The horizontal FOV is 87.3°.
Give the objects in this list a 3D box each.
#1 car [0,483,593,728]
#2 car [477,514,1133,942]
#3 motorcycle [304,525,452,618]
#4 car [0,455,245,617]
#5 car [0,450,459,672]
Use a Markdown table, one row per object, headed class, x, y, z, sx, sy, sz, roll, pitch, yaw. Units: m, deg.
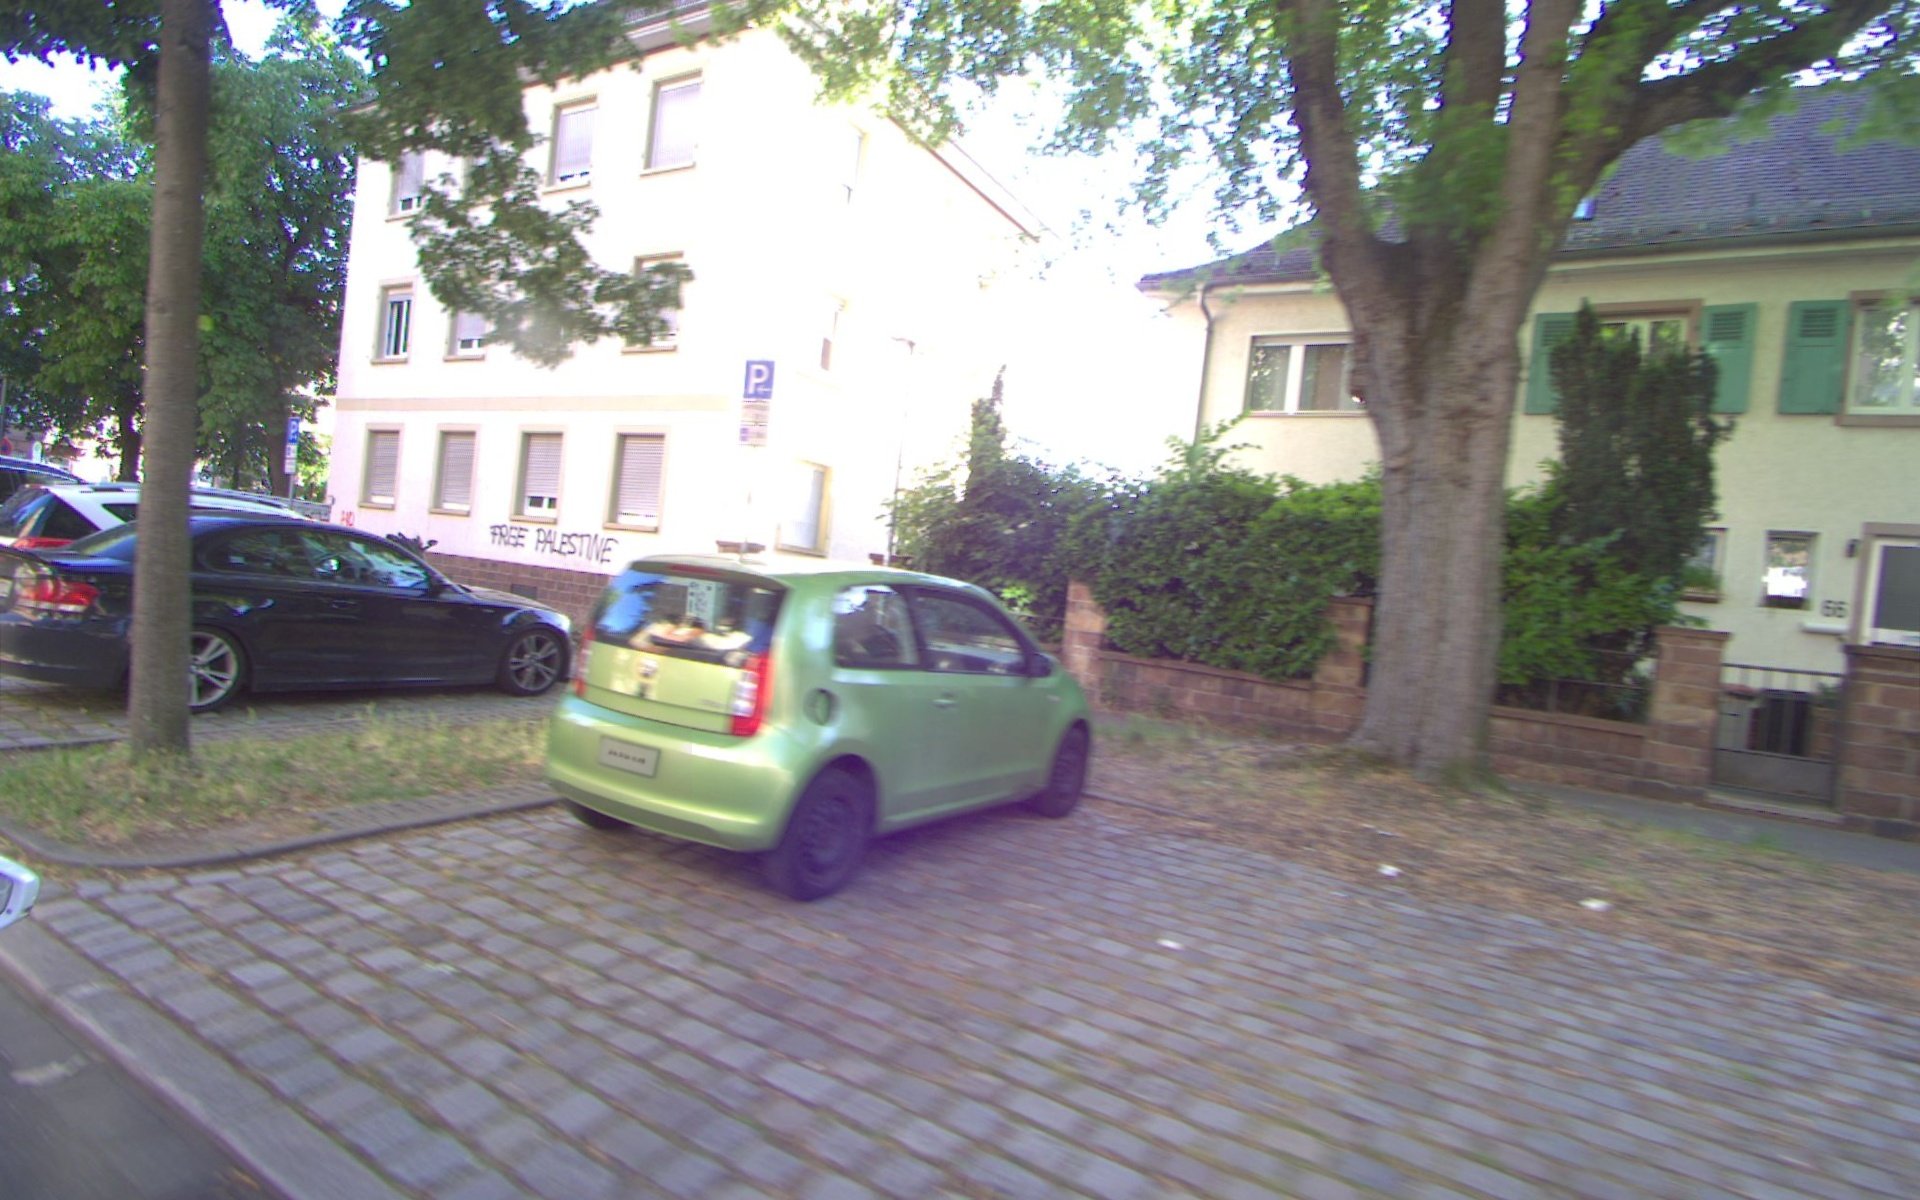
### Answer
| class | x | y | z | sx | sy | sz | roll | pitch | yaw |
| --- | --- | --- | --- | --- | --- | --- | --- | --- | --- |
| car | -5.279 | 0.001 | 8.099 | 1.762 | 1.431 | 4.105 | 7 | 2 | 31 |
| car | -0.542 | 0.518 | 5.744 | 1.650 | 1.525 | 3.590 | 7 | 2 | 32 |
| motorcycle | -9.760 | -0.479 | 16.864 | 2.143 | 1.296 | 0.977 | 7 | 1 | 23 |
| car | -11.280 | -0.825 | 11.862 | 1.988 | 1.735 | 4.112 | 7 | 1 | 27 |
| car | -7.165 | -0.269 | 9.724 | 1.677 | 1.671 | 3.694 | 7 | 0 | 35 |
